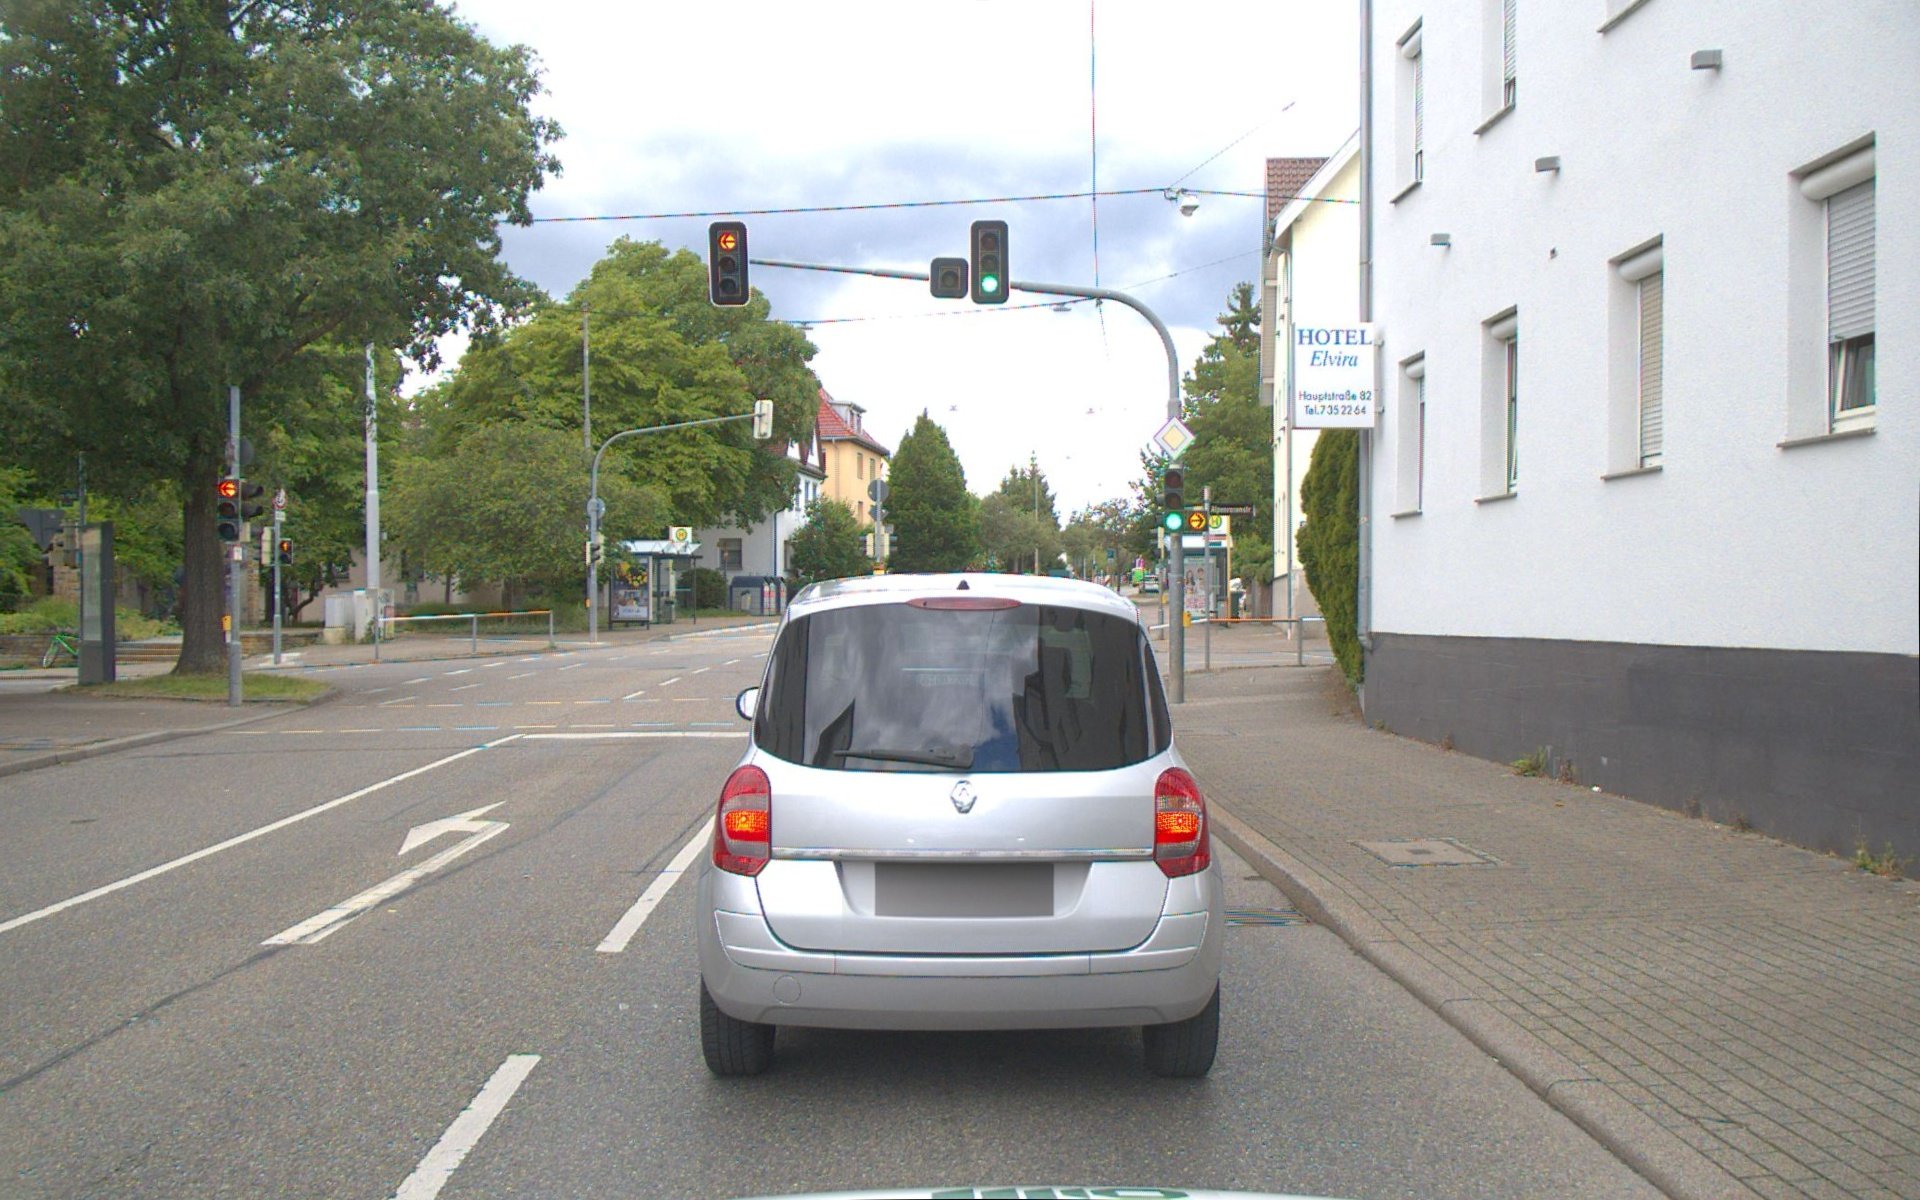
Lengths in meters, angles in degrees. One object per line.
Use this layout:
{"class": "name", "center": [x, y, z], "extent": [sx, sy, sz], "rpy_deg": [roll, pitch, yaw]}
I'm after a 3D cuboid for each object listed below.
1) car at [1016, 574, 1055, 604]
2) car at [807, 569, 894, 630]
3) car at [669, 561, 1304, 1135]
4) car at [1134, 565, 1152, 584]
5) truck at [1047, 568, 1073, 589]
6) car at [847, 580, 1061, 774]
{"class": "car", "center": [4.671, -0.679, 101.531], "extent": [1.818, 1.778, 4.003], "rpy_deg": [1, 0, 11]}
{"class": "car", "center": [-3.537, -0.040, 54.124], "extent": [1.885, 1.804, 4.004], "rpy_deg": [-4, 0, 9]}
{"class": "car", "center": [0.038, 0.677, 6.510], "extent": [1.719, 1.557, 3.999], "rpy_deg": [1, 0, -1]}
{"class": "car", "center": [25.597, -3.596, 231.144], "extent": [2.015, 2.556, 5.600], "rpy_deg": [0, 0, 11]}
{"class": "truck", "center": [10.092, -2.125, 166.679], "extent": [2.056, 2.049, 5.752], "rpy_deg": [1, 0, 9]}
{"class": "car", "center": [-0.084, 0.623, 15.292], "extent": [1.719, 1.557, 3.796], "rpy_deg": [1, 0, -1]}
